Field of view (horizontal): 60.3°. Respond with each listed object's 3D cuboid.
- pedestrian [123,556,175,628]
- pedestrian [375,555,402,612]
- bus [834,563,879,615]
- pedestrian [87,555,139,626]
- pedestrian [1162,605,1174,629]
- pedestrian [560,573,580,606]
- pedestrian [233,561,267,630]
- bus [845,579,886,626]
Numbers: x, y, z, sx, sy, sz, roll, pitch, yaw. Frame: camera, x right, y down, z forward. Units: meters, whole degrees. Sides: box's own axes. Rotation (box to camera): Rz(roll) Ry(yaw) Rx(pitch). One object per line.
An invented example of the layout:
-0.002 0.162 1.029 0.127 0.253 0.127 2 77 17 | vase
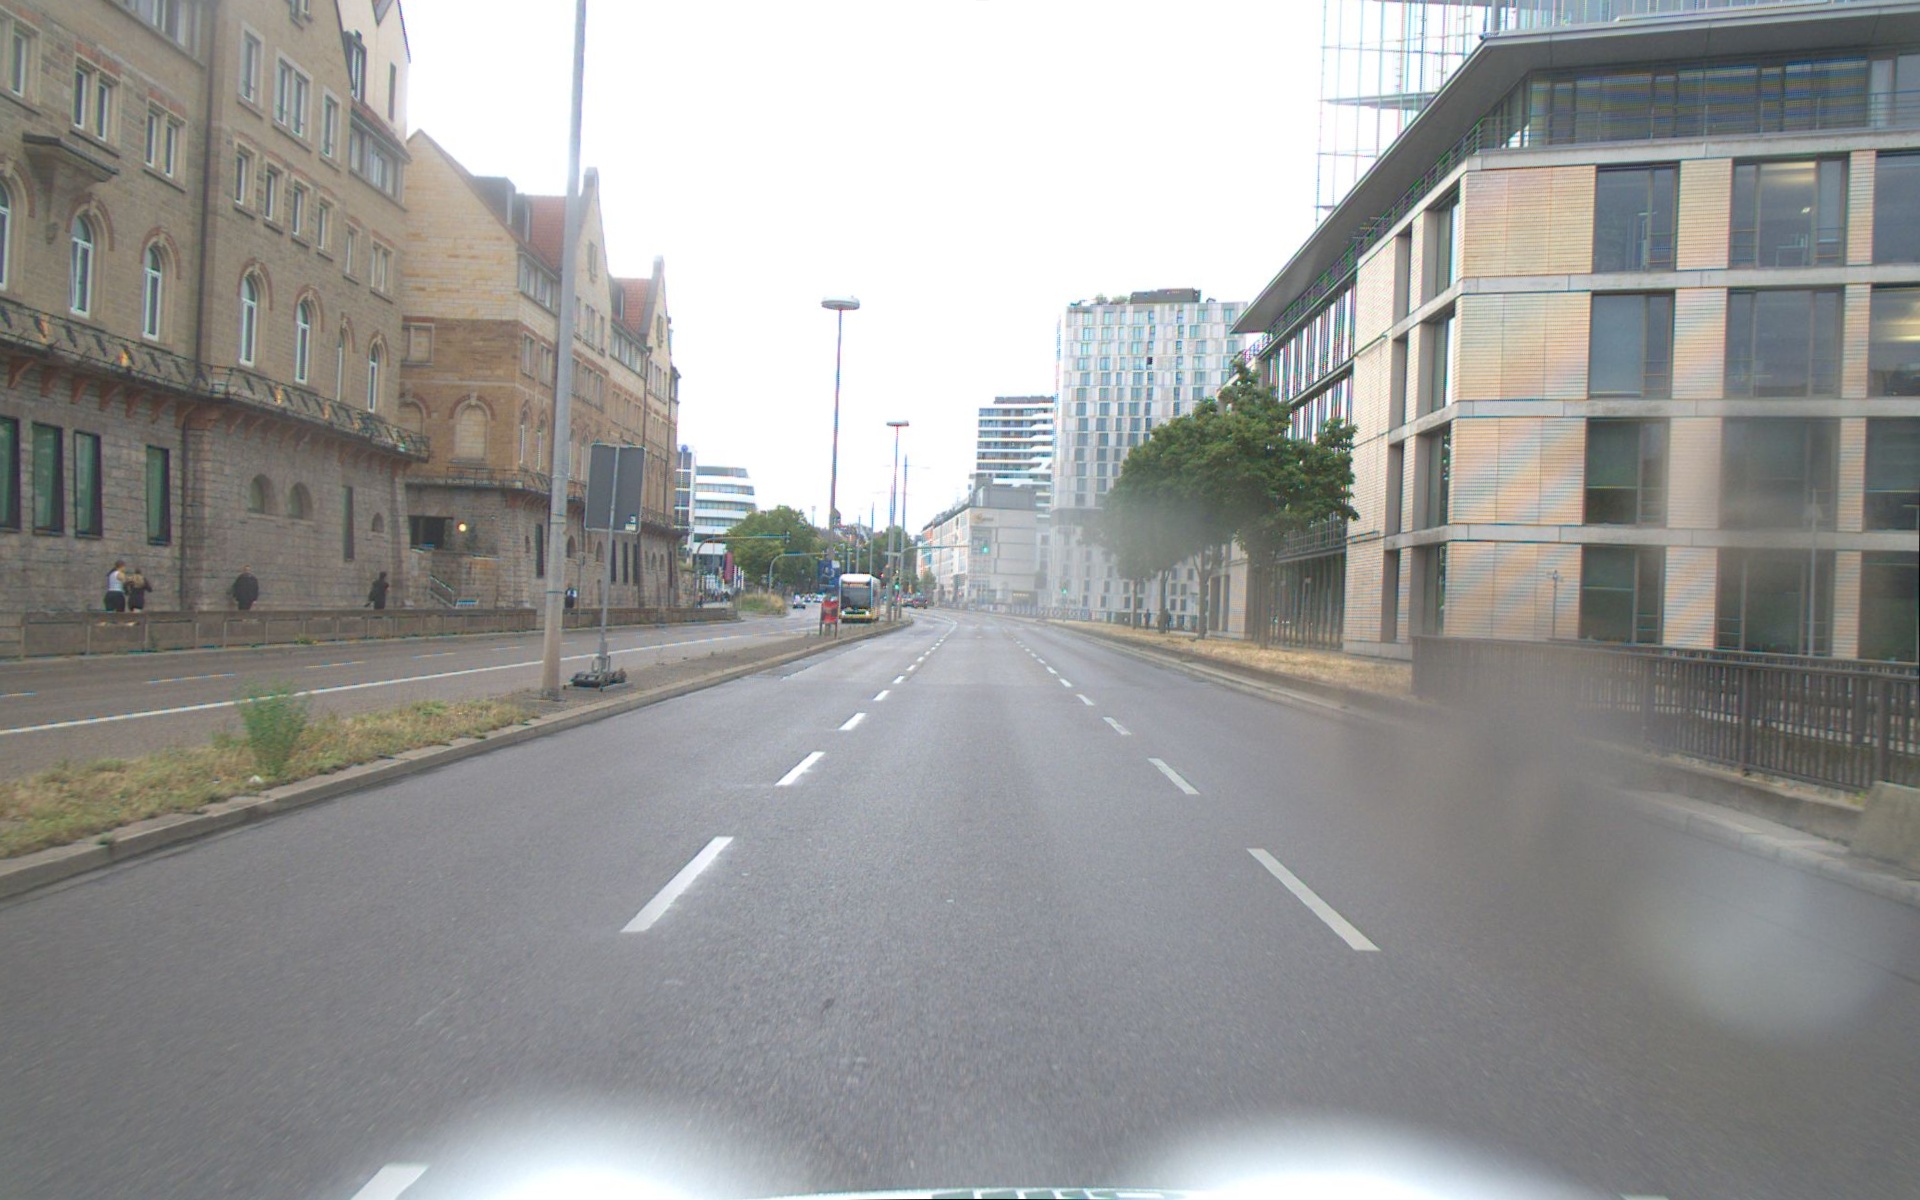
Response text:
-17.303 -0.178 35.302 0.738 1.503 0.714 1 1 0 | pedestrian
-18.148 -0.532 52.520 0.627 1.776 0.621 1 1 -2 | pedestrian
-7.563 -0.802 122.415 2.643 3.621 10.093 1 0 0 | bus
-18.068 -0.207 35.291 0.738 1.503 0.714 1 1 0 | pedestrian
14.139 1.128 112.189 0.540 1.605 0.668 2 1 35 | pedestrian
-18.165 -0.495 76.979 0.738 1.503 0.714 1 1 0 | pedestrian
-18.500 -0.135 43.103 0.627 1.776 0.621 1 1 -2 | pedestrian
-7.524 0.151 133.109 2.643 3.621 10.093 1 0 0 | bus
